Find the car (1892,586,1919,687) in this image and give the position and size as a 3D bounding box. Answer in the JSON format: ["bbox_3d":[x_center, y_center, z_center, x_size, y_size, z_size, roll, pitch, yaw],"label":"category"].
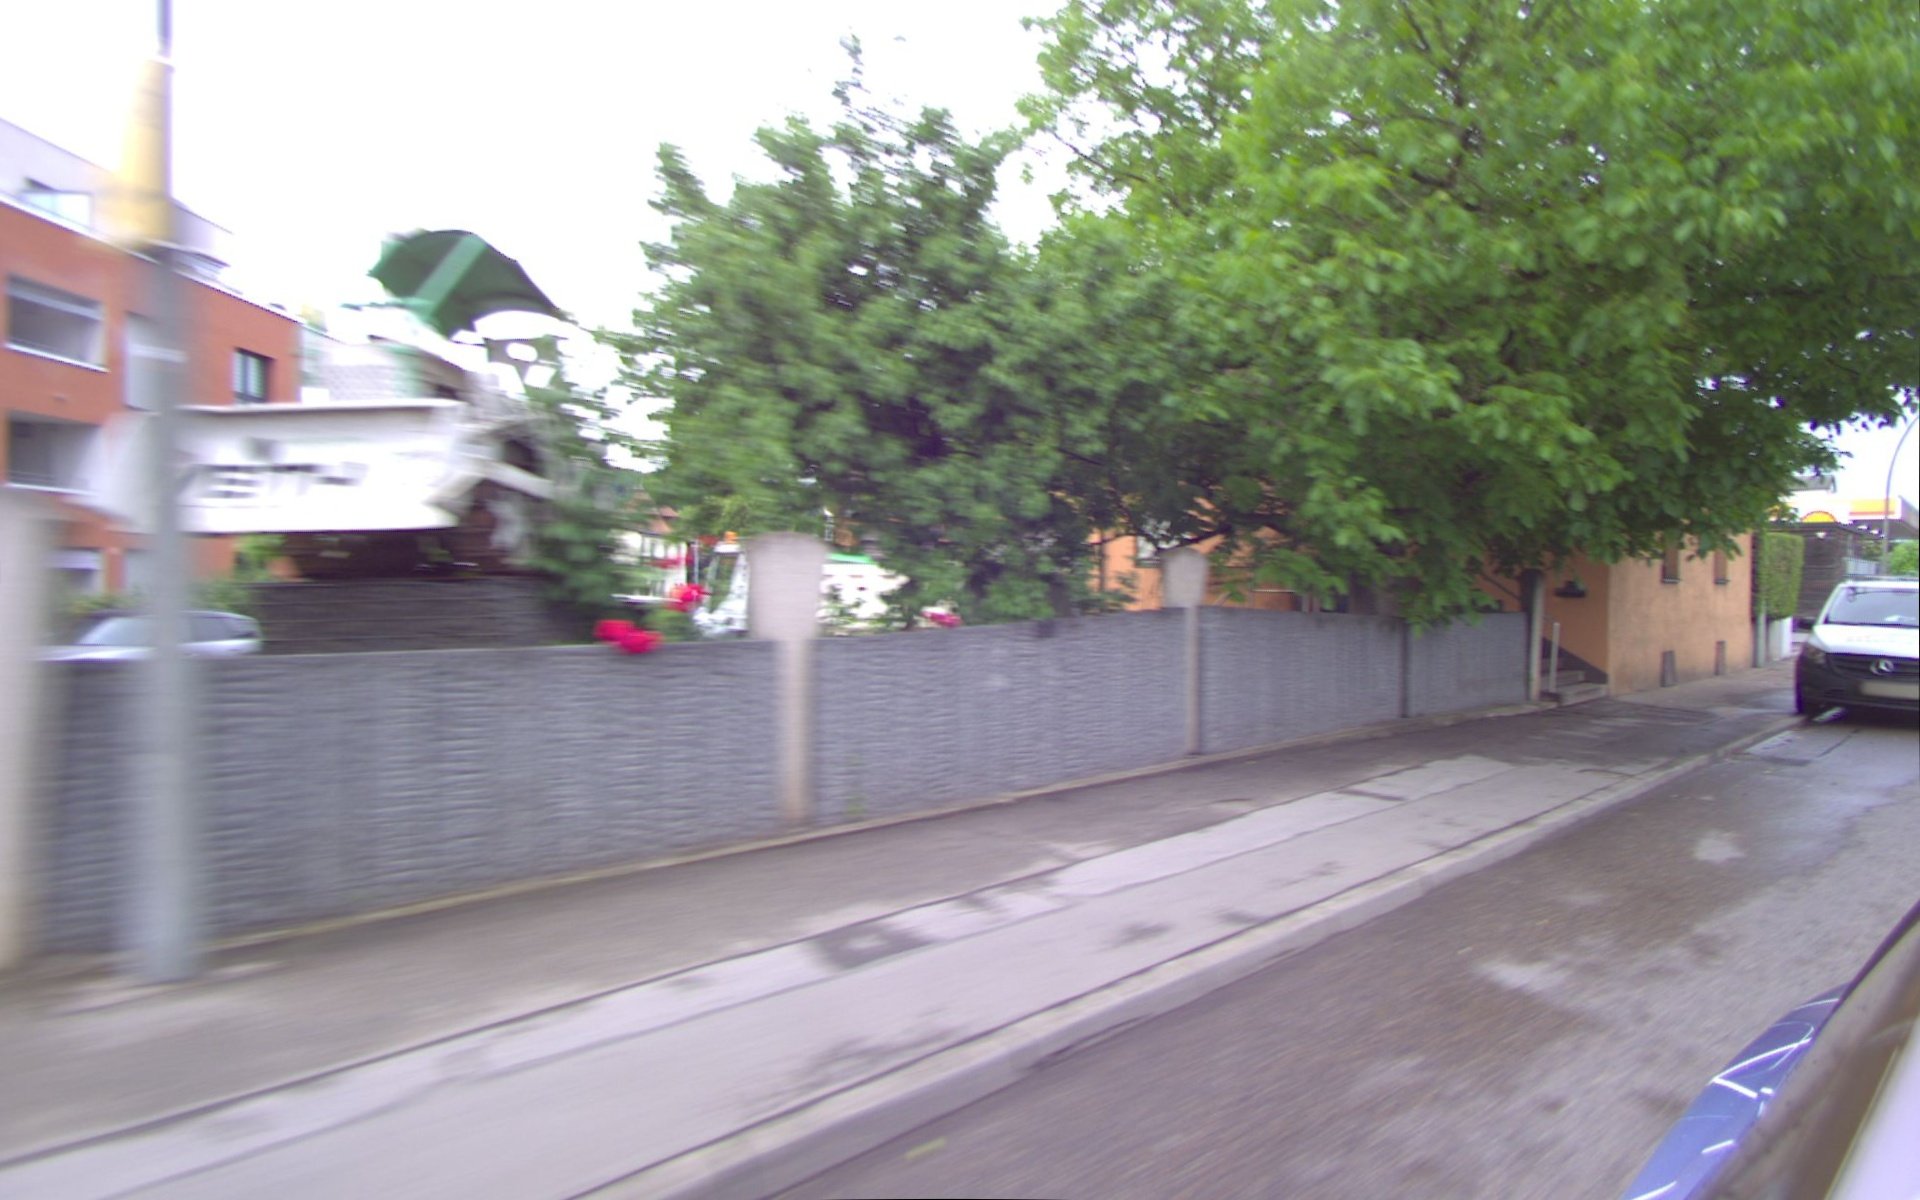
[{"bbox_3d":[18.022,0.623,17.930,4.247,1.686,1.868,0,1,-43],"label":"car"}]

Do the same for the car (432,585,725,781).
[{"bbox_3d":[-4.655,0.797,11.996,1.964,1.894,4.131,2,0,-40],"label":"car"}]

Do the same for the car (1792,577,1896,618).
[{"bbox_3d":[59.842,-0.187,68.631,4.757,2.552,2.227,2,1,27],"label":"car"}]

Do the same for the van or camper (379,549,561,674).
[{"bbox_3d":[-13.277,0.298,27.975,2.281,3.033,5.952,1,0,-2],"label":"van or camper"}]

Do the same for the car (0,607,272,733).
[{"bbox_3d":[-12.666,0.925,15.274,1.817,1.562,4.129,1,0,-1],"label":"car"}]

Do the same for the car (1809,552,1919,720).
[{"bbox_3d":[13.394,0.477,13.969,4.668,2.055,1.781,1,-1,-40],"label":"car"}]
